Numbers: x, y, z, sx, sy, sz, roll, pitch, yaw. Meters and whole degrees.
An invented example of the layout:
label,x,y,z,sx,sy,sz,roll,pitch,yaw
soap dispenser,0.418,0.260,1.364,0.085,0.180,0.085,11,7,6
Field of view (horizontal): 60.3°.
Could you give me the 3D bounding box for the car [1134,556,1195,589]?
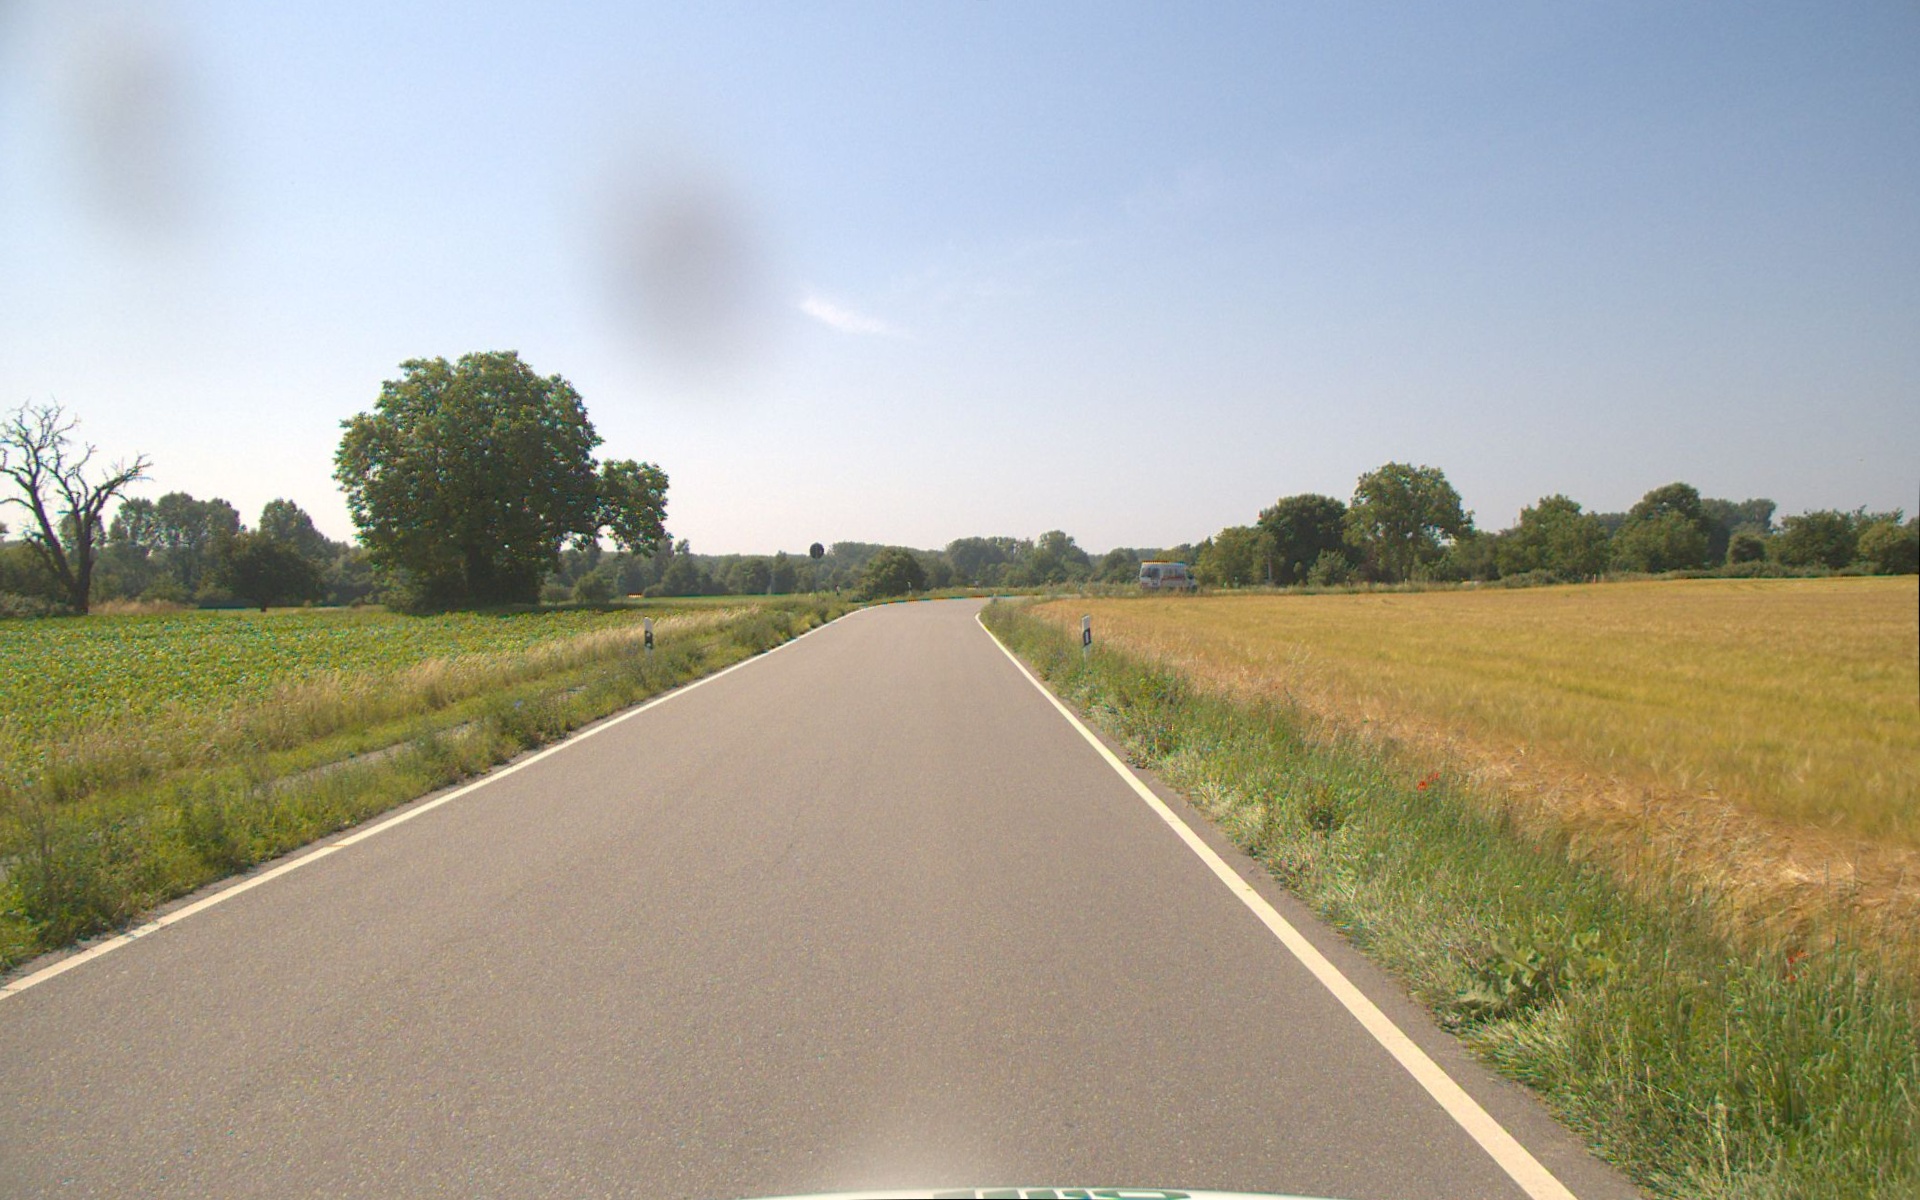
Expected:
label,x,y,z,sx,sy,sz,roll,pitch,yaw
car,15.598,-2.103,125.785,2.069,2.408,5.666,-1,1,36
